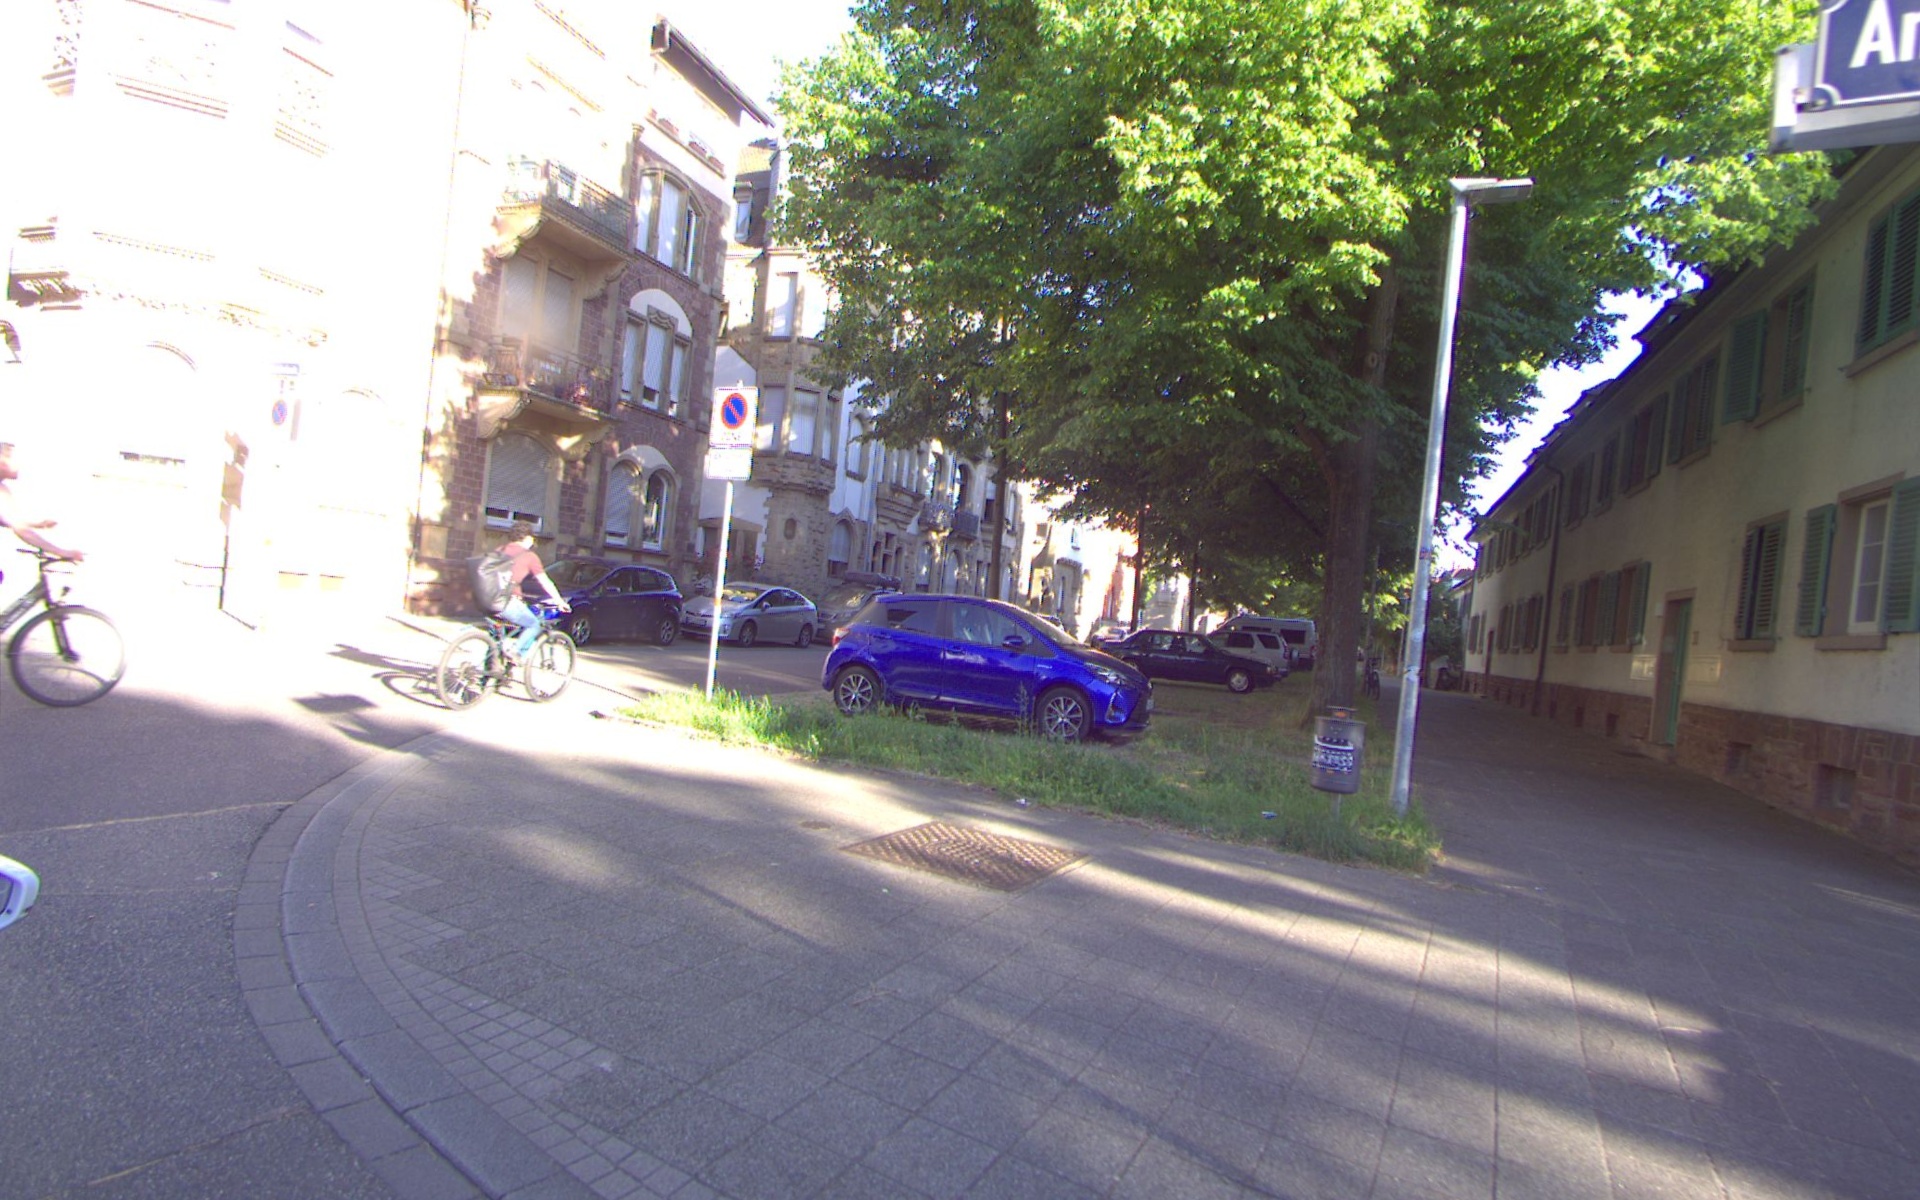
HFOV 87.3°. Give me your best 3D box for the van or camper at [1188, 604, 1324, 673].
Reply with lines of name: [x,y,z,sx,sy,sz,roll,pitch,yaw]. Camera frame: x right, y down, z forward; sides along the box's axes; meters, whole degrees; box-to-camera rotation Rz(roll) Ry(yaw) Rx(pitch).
van or camper: [13.085,1.704,44.519,5.489,2.567,2.269,4,-2,20]

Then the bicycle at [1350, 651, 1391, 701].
bicycle: [10.860,1.994,26.675,0.618,1.177,1.935,6,0,14]

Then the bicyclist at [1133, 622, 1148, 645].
bicyclist: [11.198,2.076,62.336,0.654,1.362,1.060,5,0,18]

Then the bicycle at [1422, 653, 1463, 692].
bicycle: [19.402,2.893,40.504,0.787,1.417,2.005,6,0,9]

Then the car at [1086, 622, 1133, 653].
car: [9.238,2.350,61.912,1.728,1.535,4.115,10,0,21]

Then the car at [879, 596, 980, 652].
car: [-0.993,0.919,35.921,1.703,1.592,4.709,6,-2,23]

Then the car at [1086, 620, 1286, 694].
car: [5.925,1.482,26.312,4.819,1.459,1.943,4,-2,20]

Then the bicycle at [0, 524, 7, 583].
bicycle: [-15.493,-0.755,15.347,1.546,1.010,0.516,6,0,12]

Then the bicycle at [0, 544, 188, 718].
bicycle: [-6.350,0.180,6.567,0.685,1.085,1.970,6,-1,16]

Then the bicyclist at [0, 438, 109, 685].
bicyclist: [-6.331,-0.269,6.465,0.695,1.545,0.972,6,-1,18]

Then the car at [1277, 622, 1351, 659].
car: [38.606,4.409,109.666,7.223,3.321,2.223,5,-1,23]

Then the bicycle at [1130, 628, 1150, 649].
bicycle: [11.087,2.347,61.930,0.741,1.193,2.620,5,0,18]

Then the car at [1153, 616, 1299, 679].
car: [8.753,1.531,33.100,4.407,1.691,1.941,3,0,20]

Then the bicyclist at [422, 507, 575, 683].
bicyclist: [-4.381,-0.024,9.606,0.707,1.545,0.972,6,-1,21]

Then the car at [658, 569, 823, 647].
car: [-5.190,0.268,24.482,1.703,1.517,4.454,8,0,19]

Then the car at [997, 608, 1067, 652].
car: [3.432,1.436,46.961,2.018,1.641,4.397,6,-2,19]

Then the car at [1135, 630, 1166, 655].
car: [14.819,3.307,78.000,1.606,1.685,3.970,6,-2,20]

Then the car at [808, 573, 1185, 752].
car: [0.486,0.688,11.888,3.926,1.574,2.001,5,-2,20]

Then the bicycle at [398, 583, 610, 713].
bicycle: [-4.341,0.488,9.774,0.547,1.085,1.969,6,-1,21]

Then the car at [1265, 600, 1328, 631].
car: [25.107,1.177,74.995,4.180,1.862,1.854,5,-1,23]

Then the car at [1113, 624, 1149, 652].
car: [11.435,2.566,67.156,1.468,1.535,3.775,10,0,21]

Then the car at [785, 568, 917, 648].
car: [-3.136,0.308,29.991,1.938,1.999,4.497,8,0,19]

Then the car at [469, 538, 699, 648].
car: [-7.117,-0.042,19.553,1.703,1.641,4.261,8,-1,19]
